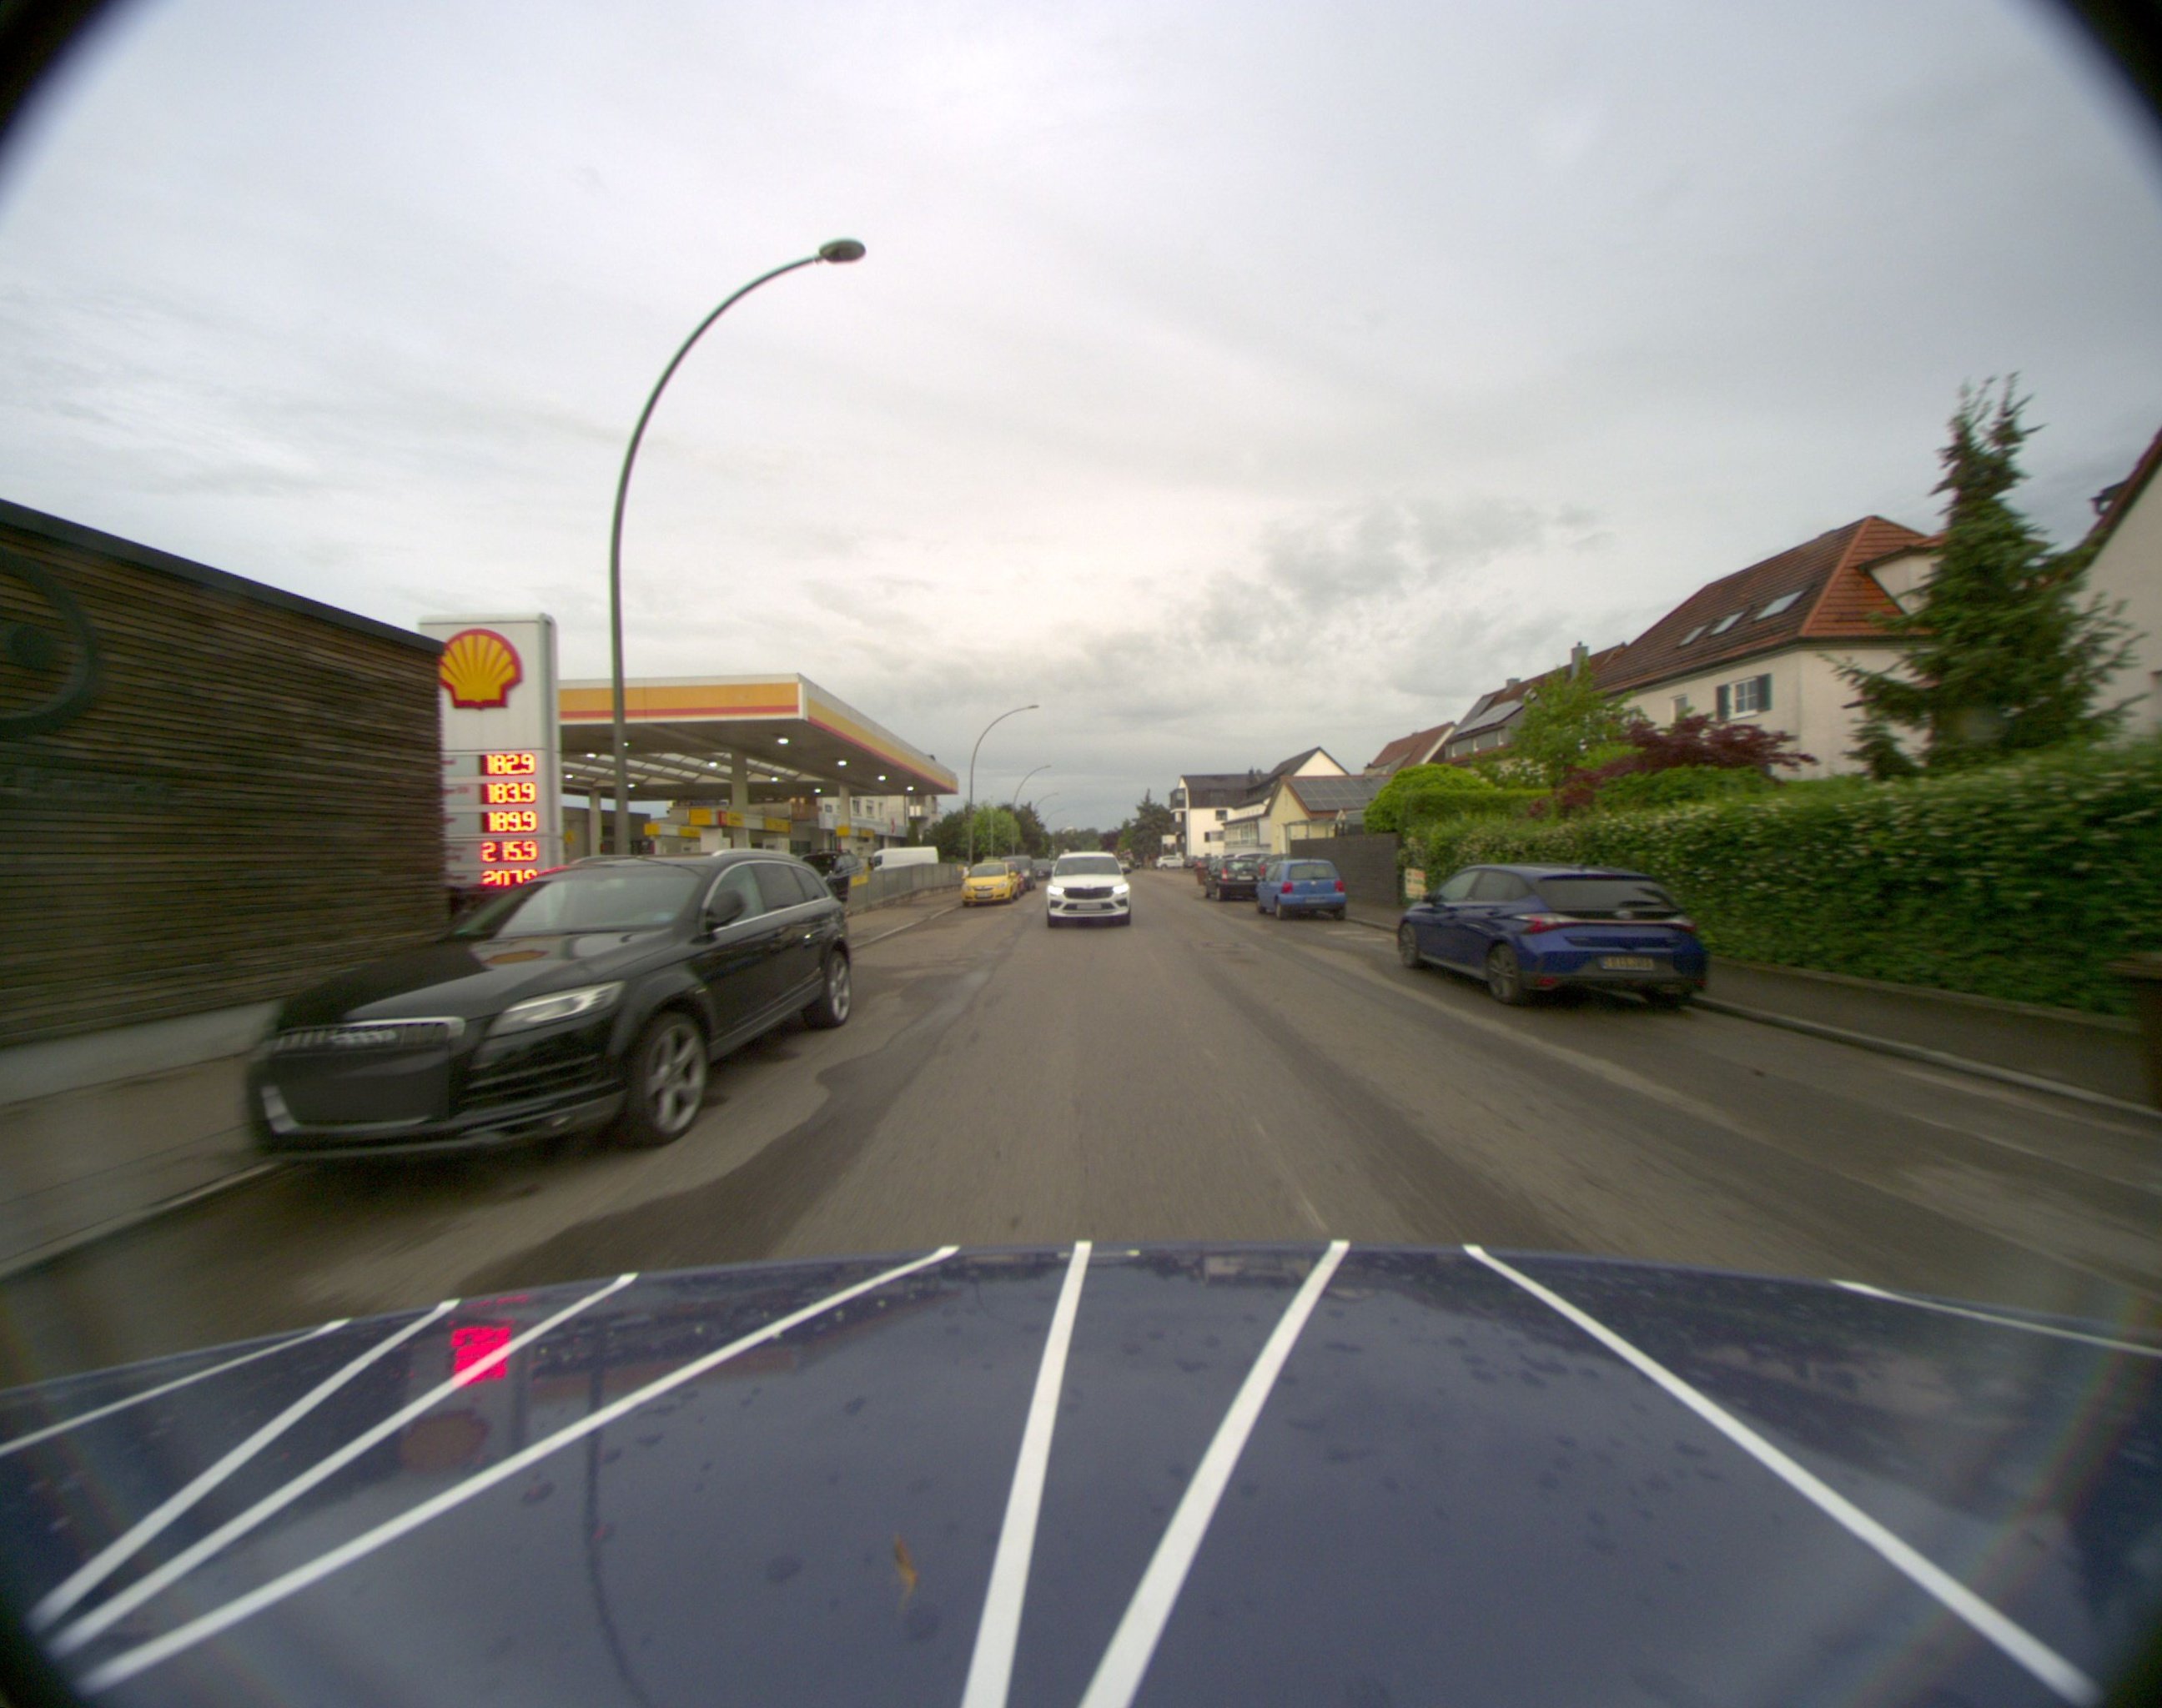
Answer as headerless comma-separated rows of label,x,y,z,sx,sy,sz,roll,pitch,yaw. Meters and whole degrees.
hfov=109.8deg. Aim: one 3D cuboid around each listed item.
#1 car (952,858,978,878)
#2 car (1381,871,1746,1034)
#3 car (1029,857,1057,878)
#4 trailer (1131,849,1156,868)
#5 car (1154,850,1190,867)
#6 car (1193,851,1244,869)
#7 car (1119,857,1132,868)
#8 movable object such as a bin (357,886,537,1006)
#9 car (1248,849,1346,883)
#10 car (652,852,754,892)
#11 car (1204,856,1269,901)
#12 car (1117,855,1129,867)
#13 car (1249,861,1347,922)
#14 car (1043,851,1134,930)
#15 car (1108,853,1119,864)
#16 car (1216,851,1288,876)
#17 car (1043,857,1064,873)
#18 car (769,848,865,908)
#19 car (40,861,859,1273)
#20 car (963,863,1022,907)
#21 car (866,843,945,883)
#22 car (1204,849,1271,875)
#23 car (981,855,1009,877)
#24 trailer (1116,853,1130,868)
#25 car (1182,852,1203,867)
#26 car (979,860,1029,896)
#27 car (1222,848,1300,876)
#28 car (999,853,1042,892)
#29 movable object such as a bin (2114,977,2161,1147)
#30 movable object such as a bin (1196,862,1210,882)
car,-9.618,1.161,63.264,1.752,1.510,3.731,2,-1,-3
car,5.176,0.946,8.908,1.811,1.395,3.944,0,0,1
car,-2.877,1.016,58.893,1.999,1.586,4.000,-1,0,-1
trailer,10.569,0.739,128.256,4.059,3.028,2.168,-2,0,1
car,11.020,0.551,92.514,3.997,1.637,2.000,-5,0,-1
car,11.387,0.507,63.160,3.883,1.430,1.768,-1,0,-1
car,6.206,1.226,106.317,1.740,1.496,3.871,-1,0,1
movable object such as a bin,-7.941,1.108,9.617,1.105,1.332,1.384,-1,0,-1
car,10.228,0.556,36.114,4.095,1.405,1.714,-2,0,-3
car,-15.160,0.698,30.771,1.744,1.457,4.673,-1,0,0
car,5.483,0.823,27.243,1.612,1.497,3.707,0,0,1
car,7.194,1.182,131.099,1.998,2.112,4.755,-1,0,2
car,5.469,0.895,19.568,1.549,1.395,3.597,0,0,1
car,0.183,0.794,18.414,1.884,1.650,4.831,-1,0,0
car,6.909,0.962,162.496,2.264,2.275,4.531,1,0,0
car,10.806,0.608,48.241,4.096,1.494,1.756,-1,0,-5
car,-2.680,1.093,75.853,1.741,1.493,3.882,-3,0,2
car,-8.469,0.719,24.748,1.824,1.749,3.999,1,0,-2
car,-3.350,0.940,5.513,2.096,1.652,4.559,-3,-1,0
car,-3.116,1.064,27.388,1.660,1.393,3.801,-2,0,0
car,-11.752,0.613,50.869,4.809,2.506,2.244,-1,0,-21
car,10.799,0.560,52.607,4.096,1.522,2.001,-2,-5,-5
car,-6.926,0.937,61.496,1.999,1.673,3.999,-1,0,-4
trailer,6.212,0.989,113.019,1.721,2.114,4.007,-2,0,0
car,12.834,0.628,87.637,1.824,1.521,4.001,-7,0,3
car,-3.193,0.976,32.108,1.660,1.368,4.024,-2,0,0
car,10.499,0.453,44.538,4.095,1.505,1.883,-1,0,-3
car,-2.981,0.870,38.063,1.660,1.728,4.444,-4,0,0
movable object such as a bin,6.266,1.161,4.141,0.541,0.905,0.505,-4,1,-1
movable object such as a bin,6.798,1.029,42.354,0.597,1.051,0.687,-6,-1,1
